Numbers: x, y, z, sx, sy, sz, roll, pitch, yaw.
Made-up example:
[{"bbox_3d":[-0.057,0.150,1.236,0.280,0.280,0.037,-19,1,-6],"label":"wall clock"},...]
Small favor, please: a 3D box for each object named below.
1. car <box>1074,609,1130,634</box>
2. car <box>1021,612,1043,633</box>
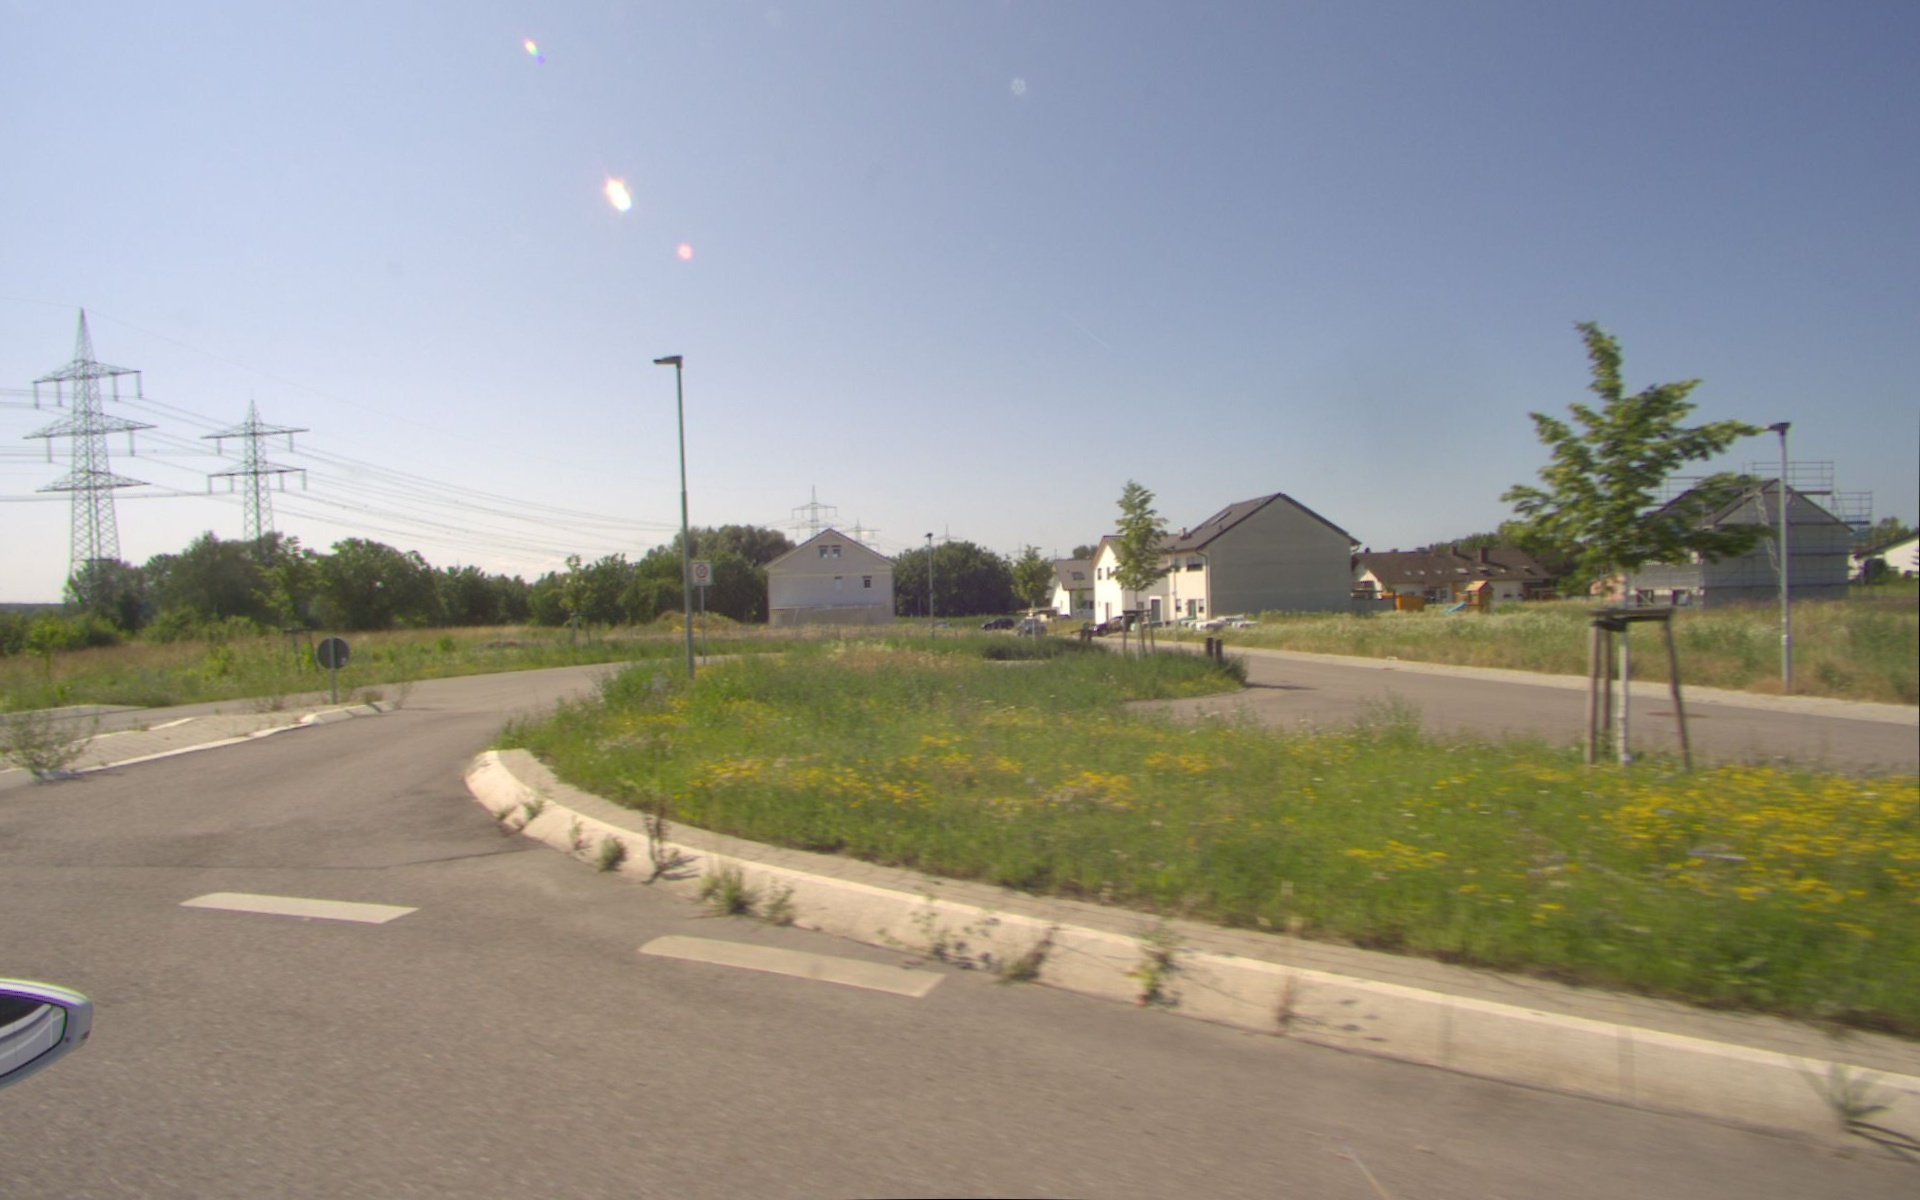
[{"bbox_3d":[10.984,1.662,77.626,3.923,1.817,2.000,-2,0,-5],"label":"car"},{"bbox_3d":[5.856,1.845,82.041,1.649,1.683,3.488,-2,-2,3],"label":"car"}]
